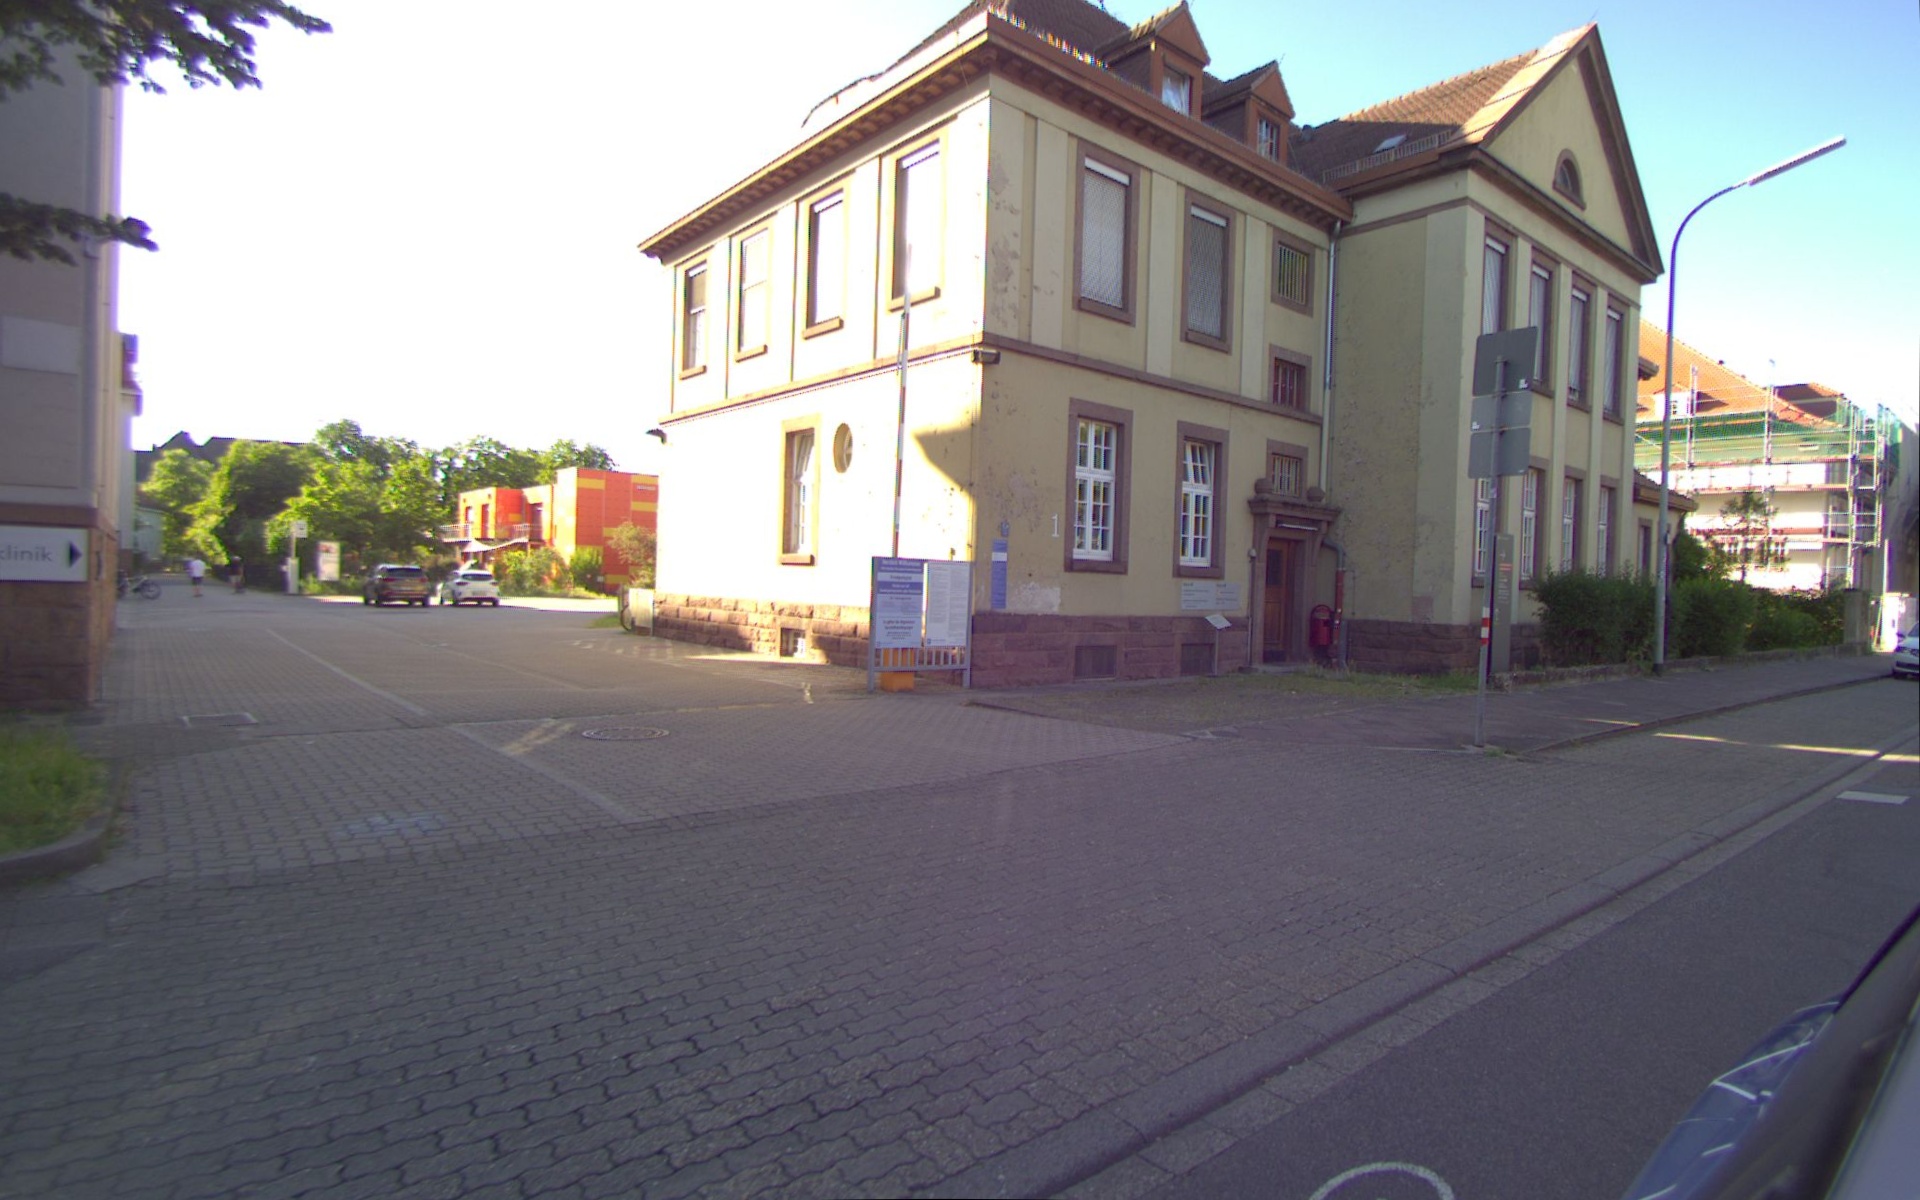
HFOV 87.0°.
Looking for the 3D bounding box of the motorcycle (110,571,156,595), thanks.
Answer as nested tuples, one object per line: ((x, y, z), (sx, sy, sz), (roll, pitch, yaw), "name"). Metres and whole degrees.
((-32.644, -0.662, 39.960), (1.372, 0.931, 0.322), (1, -1, -43), "motorcycle")

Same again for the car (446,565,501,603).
((-19.770, -0.668, 41.063), (1.752, 1.418, 3.452), (1, 1, -29), "car")

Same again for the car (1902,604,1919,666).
((23.097, 0.820, 23.084), (4.417, 1.339, 1.836), (1, 2, -41), "car")

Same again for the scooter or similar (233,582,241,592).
((-33.522, -0.599, 46.937), (0.289, 0.417, 0.269), (1, 1, -42), "scooter or similar")

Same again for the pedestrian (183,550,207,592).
((-32.290, -1.238, 42.712), (0.724, 1.739, 0.586), (1, 1, -42), "pedestrian")

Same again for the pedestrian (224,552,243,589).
((-34.023, -1.373, 47.402), (0.631, 1.739, 0.491), (1, 1, -42), "pedestrian")

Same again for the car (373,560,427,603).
((-21.691, -0.725, 39.209), (1.752, 1.576, 3.452), (1, 1, -29), "car")

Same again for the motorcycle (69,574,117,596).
((-32.424, -0.541, 37.859), (1.372, 0.796, 0.322), (1, -1, -43), "motorcycle")
